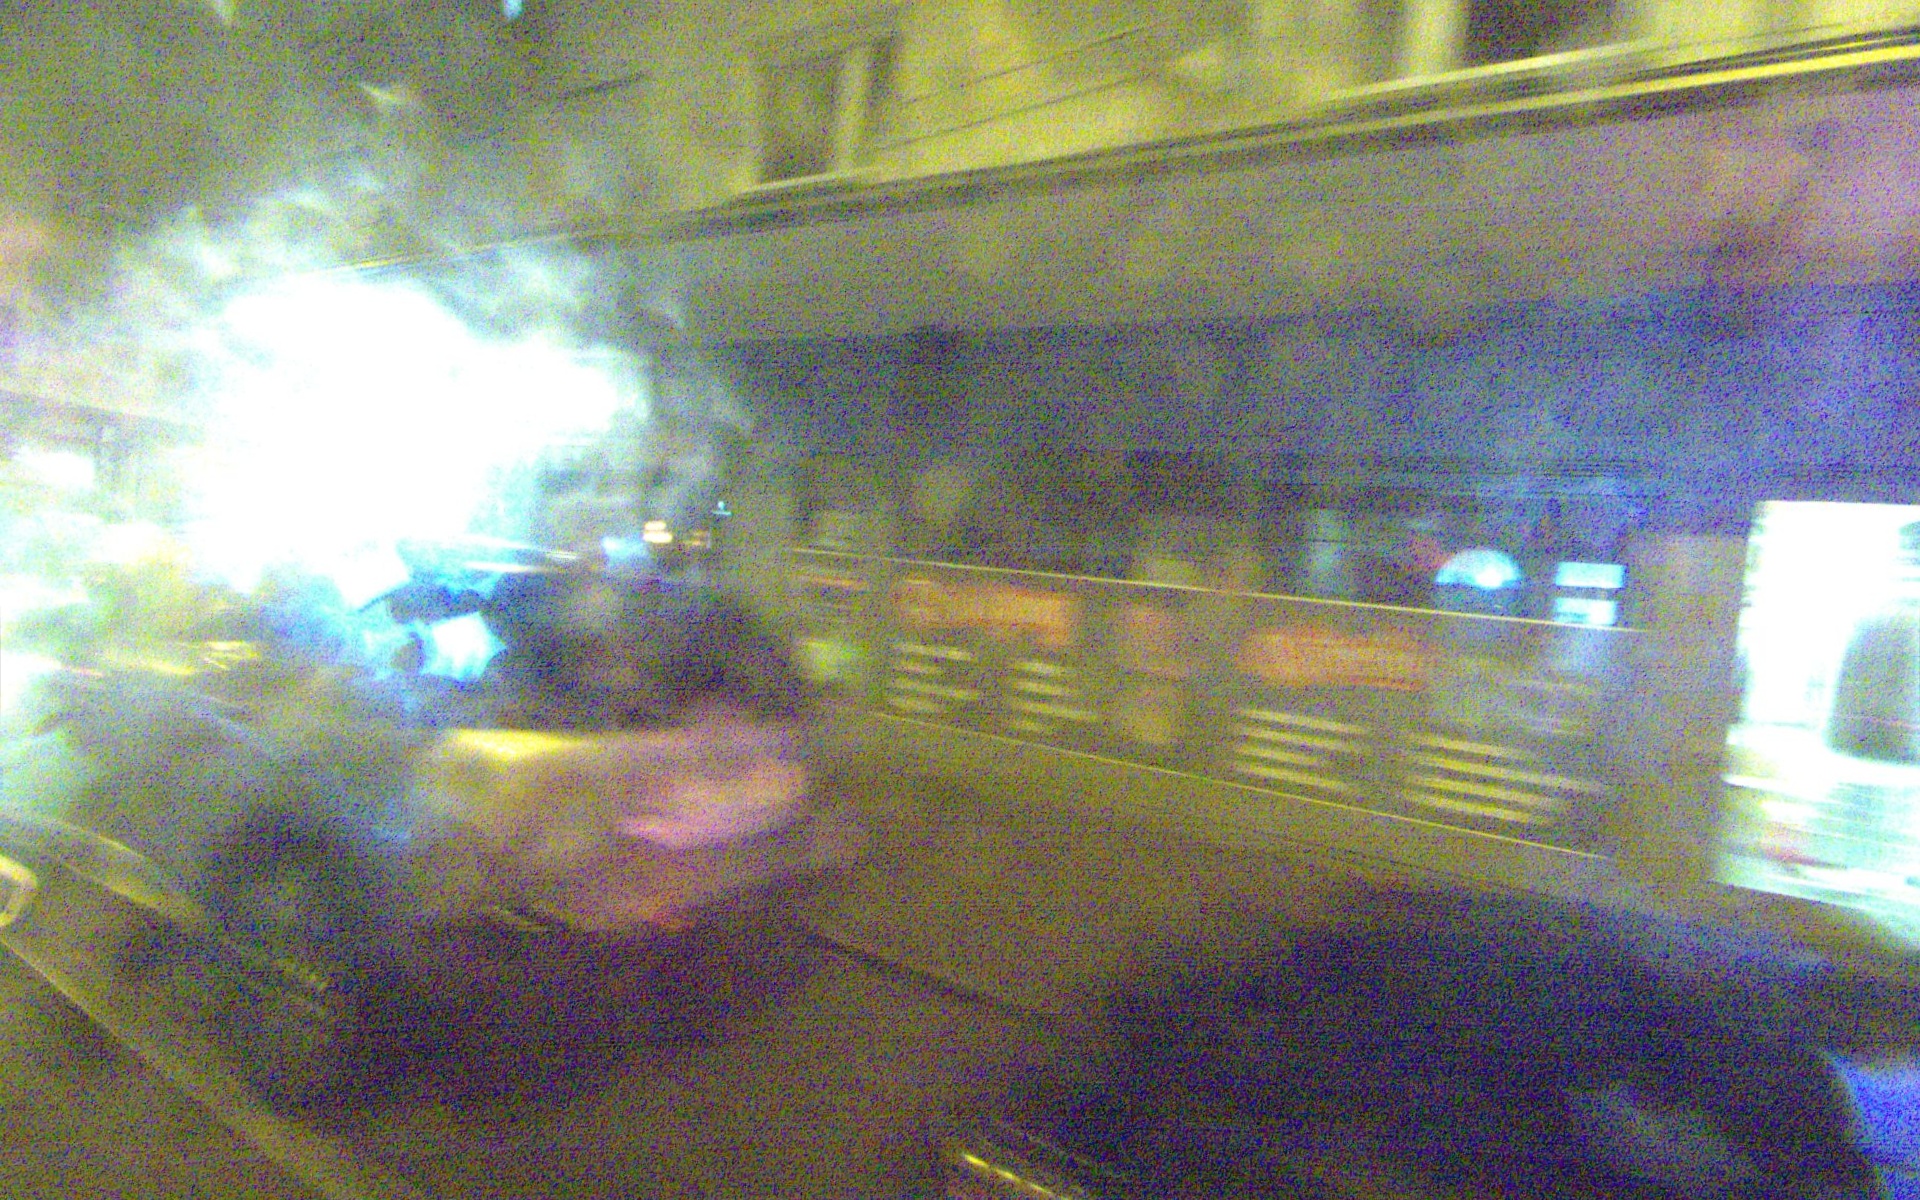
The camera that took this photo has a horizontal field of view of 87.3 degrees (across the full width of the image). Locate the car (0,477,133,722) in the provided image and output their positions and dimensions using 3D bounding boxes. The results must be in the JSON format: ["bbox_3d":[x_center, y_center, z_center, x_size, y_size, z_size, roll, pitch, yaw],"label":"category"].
[{"bbox_3d":[-7.624,-0.149,7.152,3.364,1.561,1.594,6,-2,32],"label":"car"}]

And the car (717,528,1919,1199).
[{"bbox_3d":[1.967,0.934,1.050,4.324,1.556,1.756,6,-2,30],"label":"car"}]

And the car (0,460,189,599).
[{"bbox_3d":[-15.327,-1.231,15.748,2.089,1.945,4.830,7,-1,12],"label":"car"}]

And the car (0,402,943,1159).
[{"bbox_3d":[-2.265,0.296,3.908,3.922,1.627,1.756,6,-2,30],"label":"car"}]
